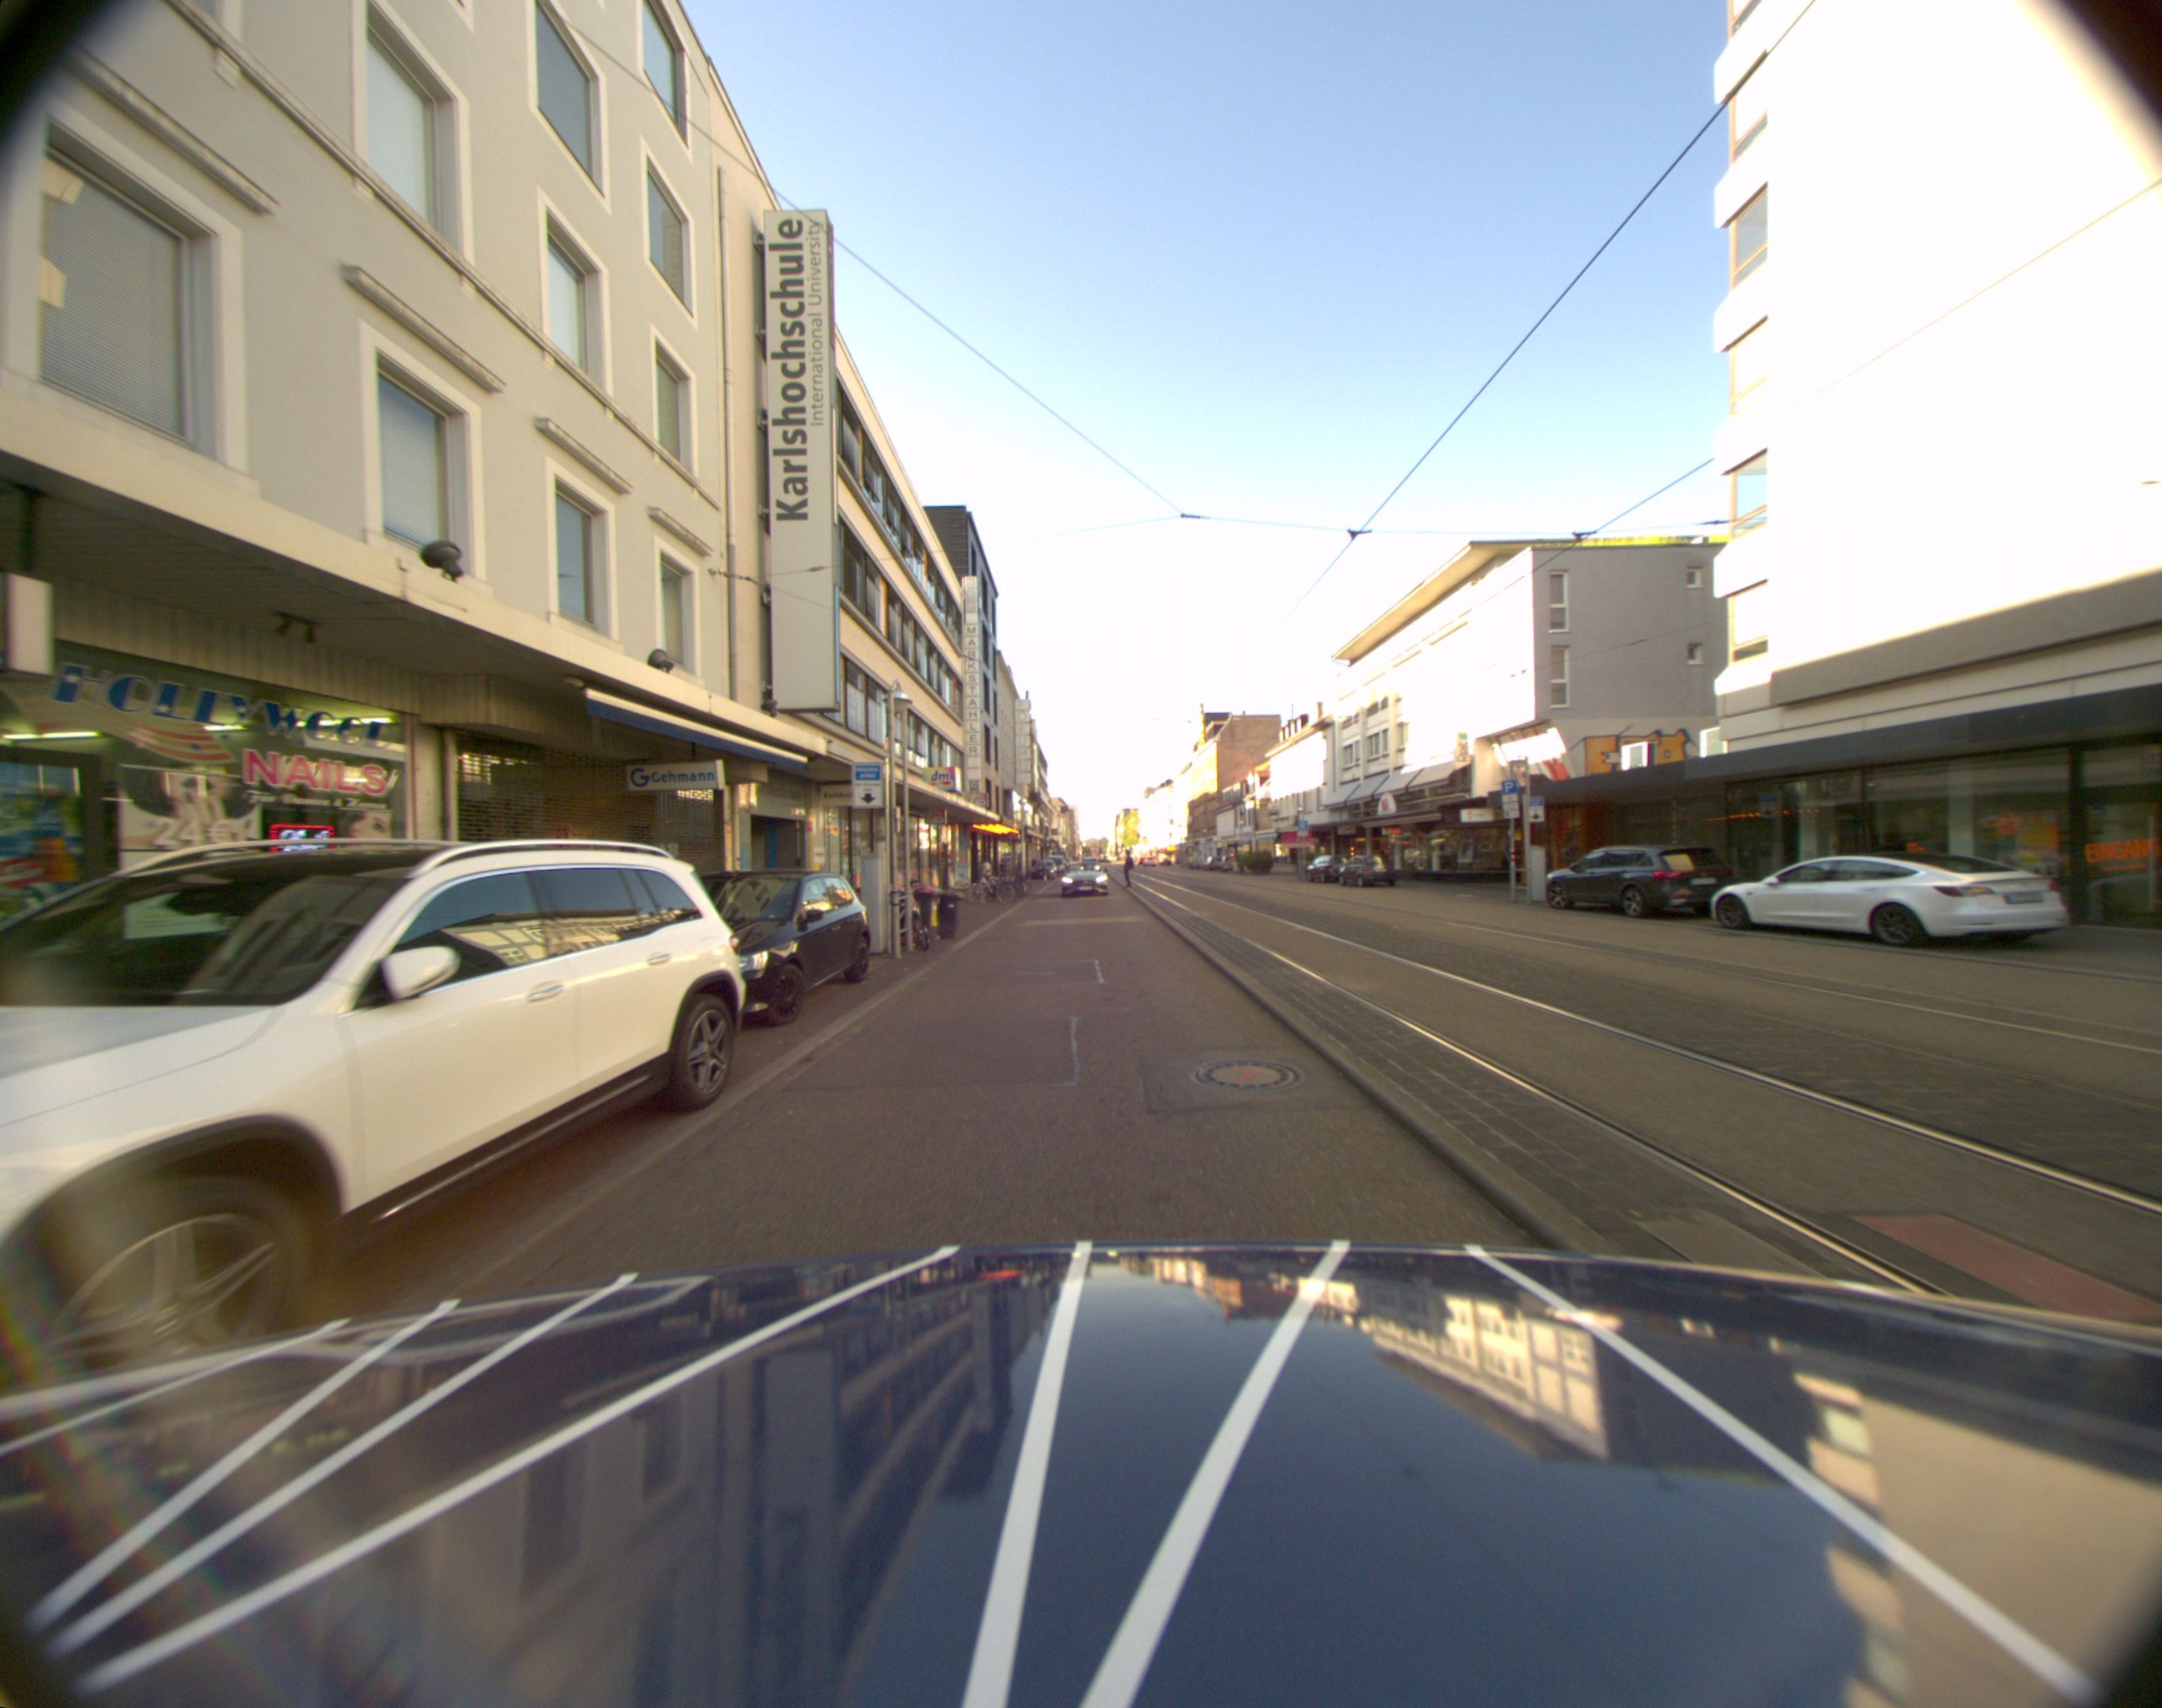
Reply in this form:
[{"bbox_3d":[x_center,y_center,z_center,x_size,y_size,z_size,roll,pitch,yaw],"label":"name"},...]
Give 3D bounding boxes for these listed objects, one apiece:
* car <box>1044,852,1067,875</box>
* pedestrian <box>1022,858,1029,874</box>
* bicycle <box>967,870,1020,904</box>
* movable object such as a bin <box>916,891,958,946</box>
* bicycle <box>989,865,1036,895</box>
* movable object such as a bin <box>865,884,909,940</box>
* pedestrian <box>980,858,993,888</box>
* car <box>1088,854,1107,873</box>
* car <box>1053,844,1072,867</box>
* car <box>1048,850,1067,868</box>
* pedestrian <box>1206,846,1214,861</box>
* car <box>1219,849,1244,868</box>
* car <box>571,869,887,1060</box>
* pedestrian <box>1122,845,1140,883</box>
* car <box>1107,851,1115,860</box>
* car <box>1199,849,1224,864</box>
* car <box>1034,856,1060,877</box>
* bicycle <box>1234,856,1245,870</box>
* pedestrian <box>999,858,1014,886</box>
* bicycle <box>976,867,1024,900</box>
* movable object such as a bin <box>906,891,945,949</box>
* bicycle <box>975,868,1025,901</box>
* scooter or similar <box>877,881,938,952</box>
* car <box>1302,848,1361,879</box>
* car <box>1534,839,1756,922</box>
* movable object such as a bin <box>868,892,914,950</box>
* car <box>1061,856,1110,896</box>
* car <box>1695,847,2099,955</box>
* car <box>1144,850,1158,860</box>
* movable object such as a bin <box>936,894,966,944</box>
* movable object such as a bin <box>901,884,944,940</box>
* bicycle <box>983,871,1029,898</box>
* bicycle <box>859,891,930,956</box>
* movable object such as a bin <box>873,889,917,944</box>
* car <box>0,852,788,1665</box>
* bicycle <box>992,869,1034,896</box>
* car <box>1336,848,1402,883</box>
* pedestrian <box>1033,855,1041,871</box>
[{"bbox_3d":[-2.180,0.779,63.903,1.821,1.849,4.548,0,1,-3],"label":"car"},{"bbox_3d":[-4.955,1.070,67.514,0.577,1.431,0.731,1,1,1],"label":"pedestrian"},{"bbox_3d":[-3.091,1.166,27.054,1.792,1.153,0.669,0,1,0],"label":"bicycle"},{"bbox_3d":[-2.787,1.242,14.716,0.688,1.008,0.508,0,1,3],"label":"movable object such as a bin"},{"bbox_3d":[-3.052,1.153,33.811,2.043,1.267,0.524,0,1,-9],"label":"bicycle"},{"bbox_3d":[-3.962,1.173,15.538,0.692,1.082,0.666,0,1,4],"label":"movable object such as a bin"},{"bbox_3d":[-5.015,1.010,40.284,0.583,1.576,0.597,1,1,-1],"label":"pedestrian"},{"bbox_3d":[1.450,0.829,68.219,1.630,1.593,3.330,1,1,1],"label":"car"},{"bbox_3d":[-2.240,0.205,91.539,2.051,2.486,5.687,-3,-1,0],"label":"car"},{"bbox_3d":[-2.645,0.523,84.342,2.051,1.899,4.877,-1,1,-2],"label":"car"},{"bbox_3d":[15.224,-0.027,89.718,0.658,1.752,0.581,-3,1,-7],"label":"pedestrian"},{"bbox_3d":[14.063,0.422,70.994,1.701,1.594,2.891,-3,1,1],"label":"car"},{"bbox_3d":[-3.533,0.987,8.548,1.618,1.519,4.070,0,1,0],"label":"car"},{"bbox_3d":[2.373,0.463,36.383,0.806,1.827,0.746,0,1,-1],"label":"pedestrian"},{"bbox_3d":[7.361,0.420,187.185,1.998,2.002,4.000,-3,1,2],"label":"car"},{"bbox_3d":[13.712,0.237,80.189,1.822,1.505,4.762,-2,1,1],"label":"car"},{"bbox_3d":[-2.573,0.898,57.826,1.726,1.476,4.416,1,1,1],"label":"car"},{"bbox_3d":[13.264,0.756,63.706,0.519,1.084,1.716,-3,1,1],"label":"bicycle"},{"bbox_3d":[-3.971,0.937,40.562,0.584,1.485,0.523,0,1,-35],"label":"pedestrian"},{"bbox_3d":[-3.098,1.122,29.180,1.792,1.210,0.587,0,1,0],"label":"bicycle"},{"bbox_3d":[-2.867,1.204,14.049,0.523,1.008,0.671,0,1,3],"label":"movable object such as a bin"},{"bbox_3d":[-3.004,1.131,28.266,1.792,1.210,0.669,0,1,0],"label":"bicycle"},{"bbox_3d":[-3.055,1.096,13.377,0.995,1.224,0.320,1,1,-1],"label":"scooter or similar"},{"bbox_3d":[13.824,0.484,42.195,1.741,1.514,4.851,-3,1,1],"label":"car"},{"bbox_3d":[13.434,0.533,18.553,1.983,1.669,4.655,-3,1,1],"label":"car"},{"bbox_3d":[-3.515,1.233,14.087,0.659,1.008,0.636,0,1,3],"label":"movable object such as a bin"},{"bbox_3d":[0.198,0.865,31.820,1.858,1.463,4.785,-1,1,0],"label":"car"},{"bbox_3d":[13.409,0.642,13.055,1.893,1.413,4.655,-3,1,0],"label":"car"},{"bbox_3d":[11.168,0.117,121.219,1.802,1.625,3.676,-1,1,1],"label":"car"},{"bbox_3d":[-2.608,1.293,15.236,0.488,0.952,0.458,0,1,4],"label":"movable object such as a bin"},{"bbox_3d":[-3.228,1.160,15.483,0.692,1.082,0.685,0,1,4],"label":"movable object such as a bin"},{"bbox_3d":[-3.012,1.231,30.702,1.778,1.026,0.597,0,1,0],"label":"bicycle"},{"bbox_3d":[-3.196,1.181,13.028,1.134,1.073,0.320,1,1,-1],"label":"bicycle"},{"bbox_3d":[-3.615,1.207,14.787,0.659,1.008,0.636,0,1,3],"label":"movable object such as a bin"},{"bbox_3d":[-3.256,0.878,3.401,1.854,1.714,5.192,1,1,0],"label":"car"},{"bbox_3d":[-2.948,1.225,32.913,1.778,1.124,0.478,0,1,-5],"label":"bicycle"},{"bbox_3d":[13.590,0.509,36.088,1.605,1.514,3.588,-3,1,-2],"label":"car"},{"bbox_3d":[-4.055,0.822,70.521,0.697,1.499,0.814,-1,1,0],"label":"pedestrian"}]
